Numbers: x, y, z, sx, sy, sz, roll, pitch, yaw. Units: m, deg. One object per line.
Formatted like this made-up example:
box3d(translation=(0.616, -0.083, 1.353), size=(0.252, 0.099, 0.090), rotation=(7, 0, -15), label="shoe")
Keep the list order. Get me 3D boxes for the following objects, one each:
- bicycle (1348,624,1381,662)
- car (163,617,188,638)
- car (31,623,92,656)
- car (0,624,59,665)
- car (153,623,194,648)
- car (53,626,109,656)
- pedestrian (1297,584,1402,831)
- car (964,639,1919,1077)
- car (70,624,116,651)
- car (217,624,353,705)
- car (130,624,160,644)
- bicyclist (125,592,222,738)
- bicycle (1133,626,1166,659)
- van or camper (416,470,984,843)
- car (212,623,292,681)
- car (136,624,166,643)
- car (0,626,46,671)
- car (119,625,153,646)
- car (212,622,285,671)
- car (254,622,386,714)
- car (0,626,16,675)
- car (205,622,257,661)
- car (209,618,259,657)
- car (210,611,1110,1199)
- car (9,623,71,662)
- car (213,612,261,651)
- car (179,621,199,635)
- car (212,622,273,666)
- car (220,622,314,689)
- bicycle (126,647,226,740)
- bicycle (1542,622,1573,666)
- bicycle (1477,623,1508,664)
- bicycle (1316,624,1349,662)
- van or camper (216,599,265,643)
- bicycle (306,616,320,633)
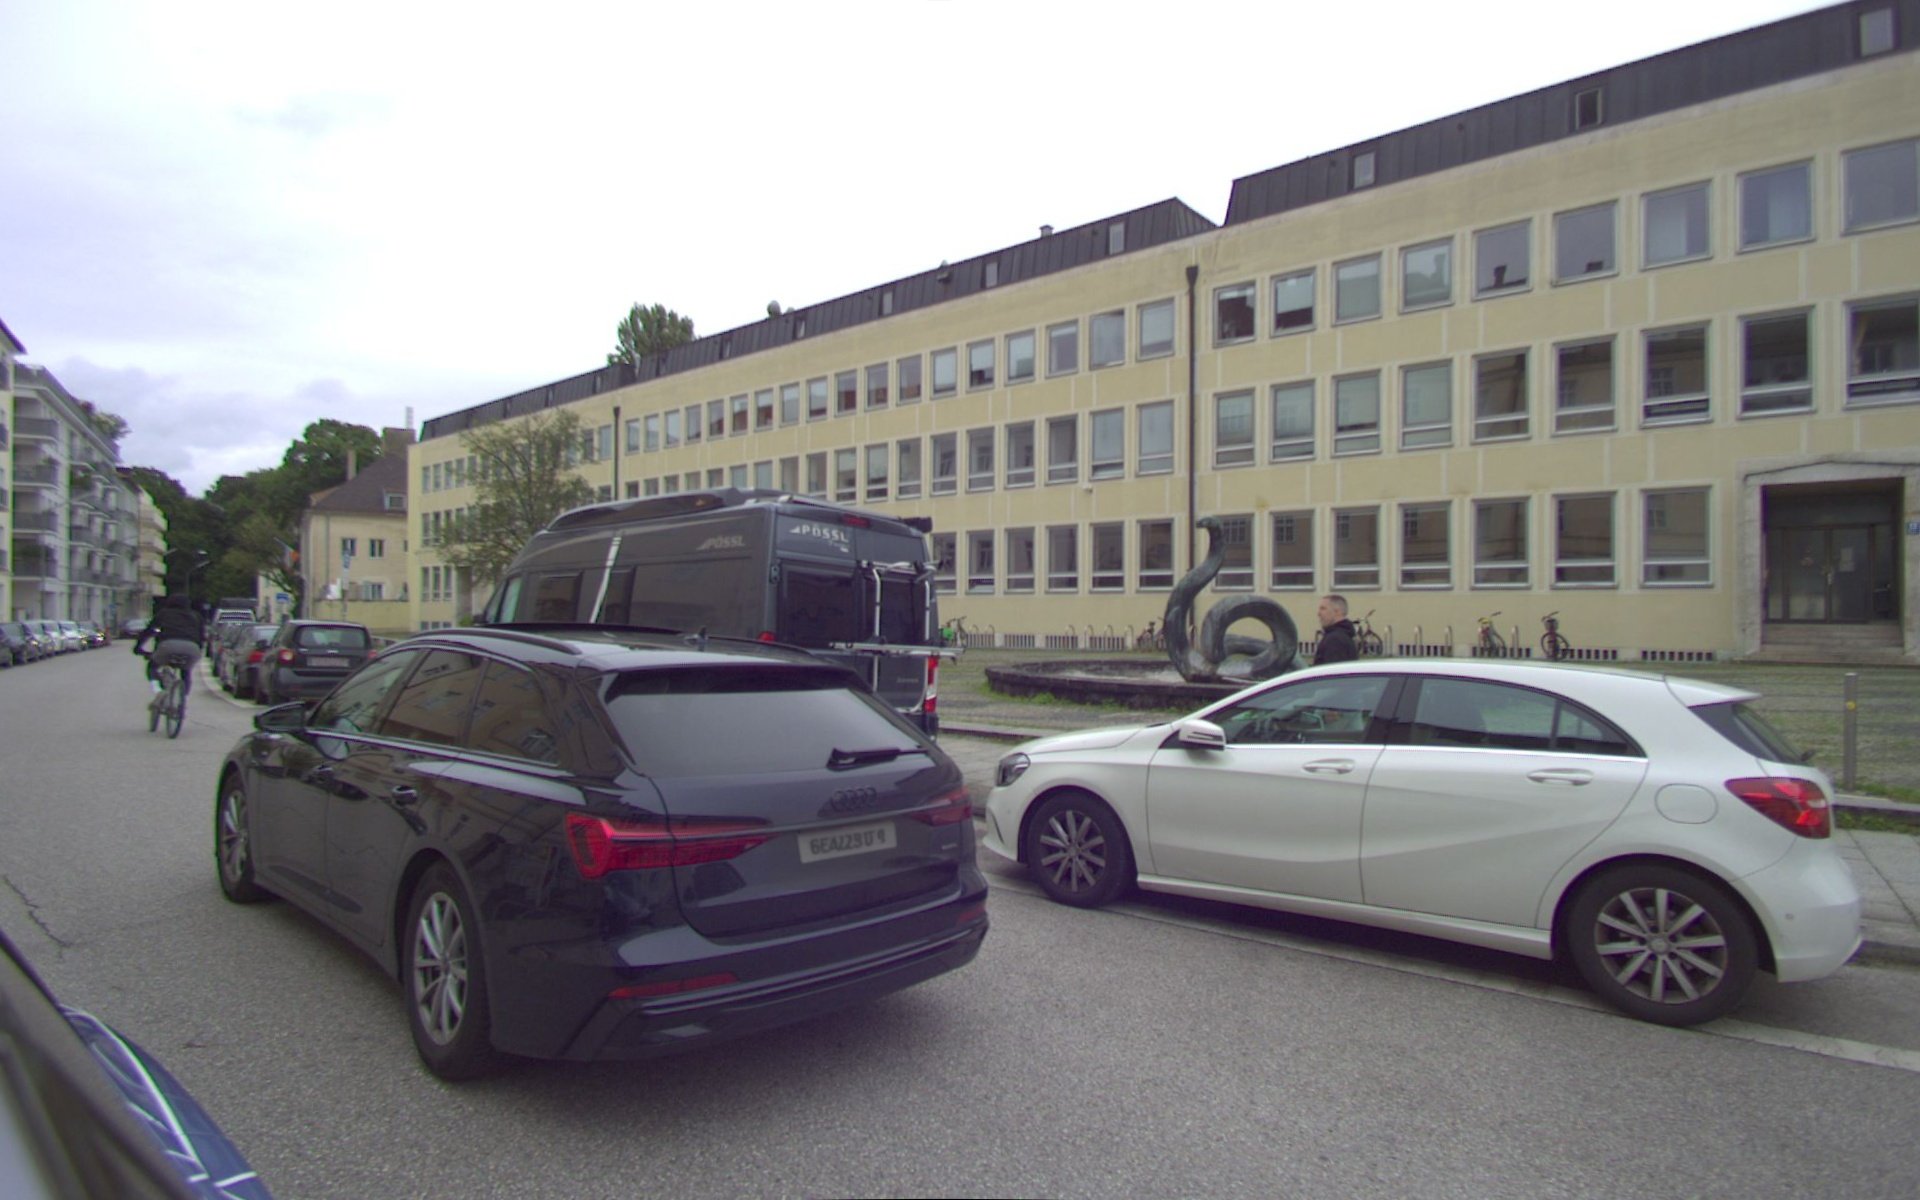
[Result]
box3d(translation=(10.879, 1.143, 27.192), size=(0.414, 0.952, 1.457), rotation=(-2, 0, 37), label="bicycle")
box3d(translation=(-82.025, 2.882, 105.822), size=(1.829, 2.046, 4.795), rotation=(0, -1, -34), label="car")
box3d(translation=(-41.734, 1.816, 47.089), size=(1.702, 1.440, 4.303), rotation=(0, -1, -36), label="car")
box3d(translation=(-36.048, 1.684, 38.930), size=(1.702, 1.461, 4.196), rotation=(0, -1, -37), label="car")
box3d(translation=(-52.129, 2.352, 67.133), size=(1.967, 1.541, 4.010), rotation=(0, -1, -35), label="car")
box3d(translation=(-44.869, 2.082, 51.717), size=(1.749, 1.440, 4.626), rotation=(0, -1, -36), label="car")
box3d(translation=(3.185, 0.825, 8.250), size=(0.710, 1.881, 0.837), rotation=(-1, -1, 26), label="pedestrian")
box3d(translation=(2.305, 0.993, 5.513), size=(4.207, 1.462, 1.975), rotation=(-1, -4, 36), label="car")
box3d(translation=(-47.918, 2.064, 55.981), size=(1.633, 1.440, 3.764), rotation=(0, -1, -36), label="car")
box3d(translation=(-13.935, 1.272, 20.792), size=(1.752, 1.477, 4.473), rotation=(4, -4, -40), label="car")
box3d(translation=(-64.012, 2.667, 79.523), size=(1.595, 1.478, 3.756), rotation=(0, -1, -35), label="car")
box3d(translation=(-10.040, 0.824, 12.921), size=(0.815, 1.785, 0.737), rotation=(-2, -5, 41), label="bicyclist")
box3d(translation=(5.860, 1.311, 31.278), size=(0.414, 0.952, 1.394), rotation=(-2, 0, 37), label="bicycle")
box3d(translation=(-2.847, 0.479, 9.922), size=(6.082, 2.601, 2.273), rotation=(-1, -4, 41), label="van or camper")
box3d(translation=(-19.837, 1.410, 28.287), size=(1.609, 1.506, 4.284), rotation=(3, -3, -38), label="car")
box3d(translation=(-67.035, 2.725, 83.917), size=(1.767, 1.493, 4.614), rotation=(-1, 0, -36), label="car")
box3d(translation=(-33.095, 1.667, 34.885), size=(1.851, 1.461, 4.688), rotation=(0, -1, -36), label="car")
box3d(translation=(-60.868, 2.641, 74.793), size=(1.748, 1.487, 4.227), rotation=(1, -2, -37), label="car")
box3d(translation=(-23.251, 1.463, 33.028), size=(1.718, 1.433, 4.303), rotation=(1, -1, -38), label="car")
box3d(translation=(-11.313, 1.157, 17.828), size=(1.500, 1.477, 2.891), rotation=(4, -4, -40), label="car")
box3d(translation=(-29.954, 1.546, 30.409), size=(1.803, 1.461, 4.094), rotation=(0, -1, -35), label="car")
box3d(translation=(-29.818, 1.672, 41.436), size=(1.609, 1.506, 3.829), rotation=(2, -2, -35), label="car")
box3d(translation=(-32.853, 1.677, 45.821), size=(1.692, 1.702, 4.151), rotation=(3, -3, -35), label="car")
box3d(translation=(-1.795, 0.813, 4.668), size=(4.705, 1.423, 1.898), rotation=(-1, -3, 44), label="car")
box3d(translation=(-39.167, 1.780, 43.165), size=(1.629, 1.555, 4.002), rotation=(0, -1, -38), label="car")
box3d(translation=(-38.824, 1.712, 54.284), size=(1.890, 1.975, 4.972), rotation=(3, -3, -37), label="car")
box3d(translation=(-91.426, 3.284, 120.023), size=(1.743, 1.629, 4.273), rotation=(1, -2, -35), label="car")
box3d(translation=(-26.709, 1.624, 37.627), size=(1.609, 1.506, 4.109), rotation=(4, -4, -37), label="car")
box3d(translation=(-17.110, 1.343, 24.925), size=(1.610, 1.506, 3.611), rotation=(4, -4, -38), label="car")
box3d(translation=(-10.017, 1.156, 12.904), size=(1.935, 1.078, 0.579), rotation=(-1, -4, 40), label="bicycle")
box3d(translation=(14.150, 1.025, 23.944), size=(0.414, 0.952, 1.690), rotation=(-2, 0, 37), label="bicycle")
box3d(translation=(13.119, 1.061, 24.926), size=(0.414, 0.952, 1.457), rotation=(-2, 0, 37), label="bicycle")
box3d(translation=(10.190, 1.164, 27.663), size=(0.414, 0.952, 1.457), rotation=(-2, 0, 37), label="bicycle")
box3d(translation=(-46.103, 1.354, 64.933), size=(2.262, 2.671, 5.576), rotation=(3, -3, -34), label="van or camper")
box3d(translation=(-47.749, 1.828, 74.704), size=(0.791, 1.243, 1.873), rotation=(1, -1, -35), label="bicycle")
